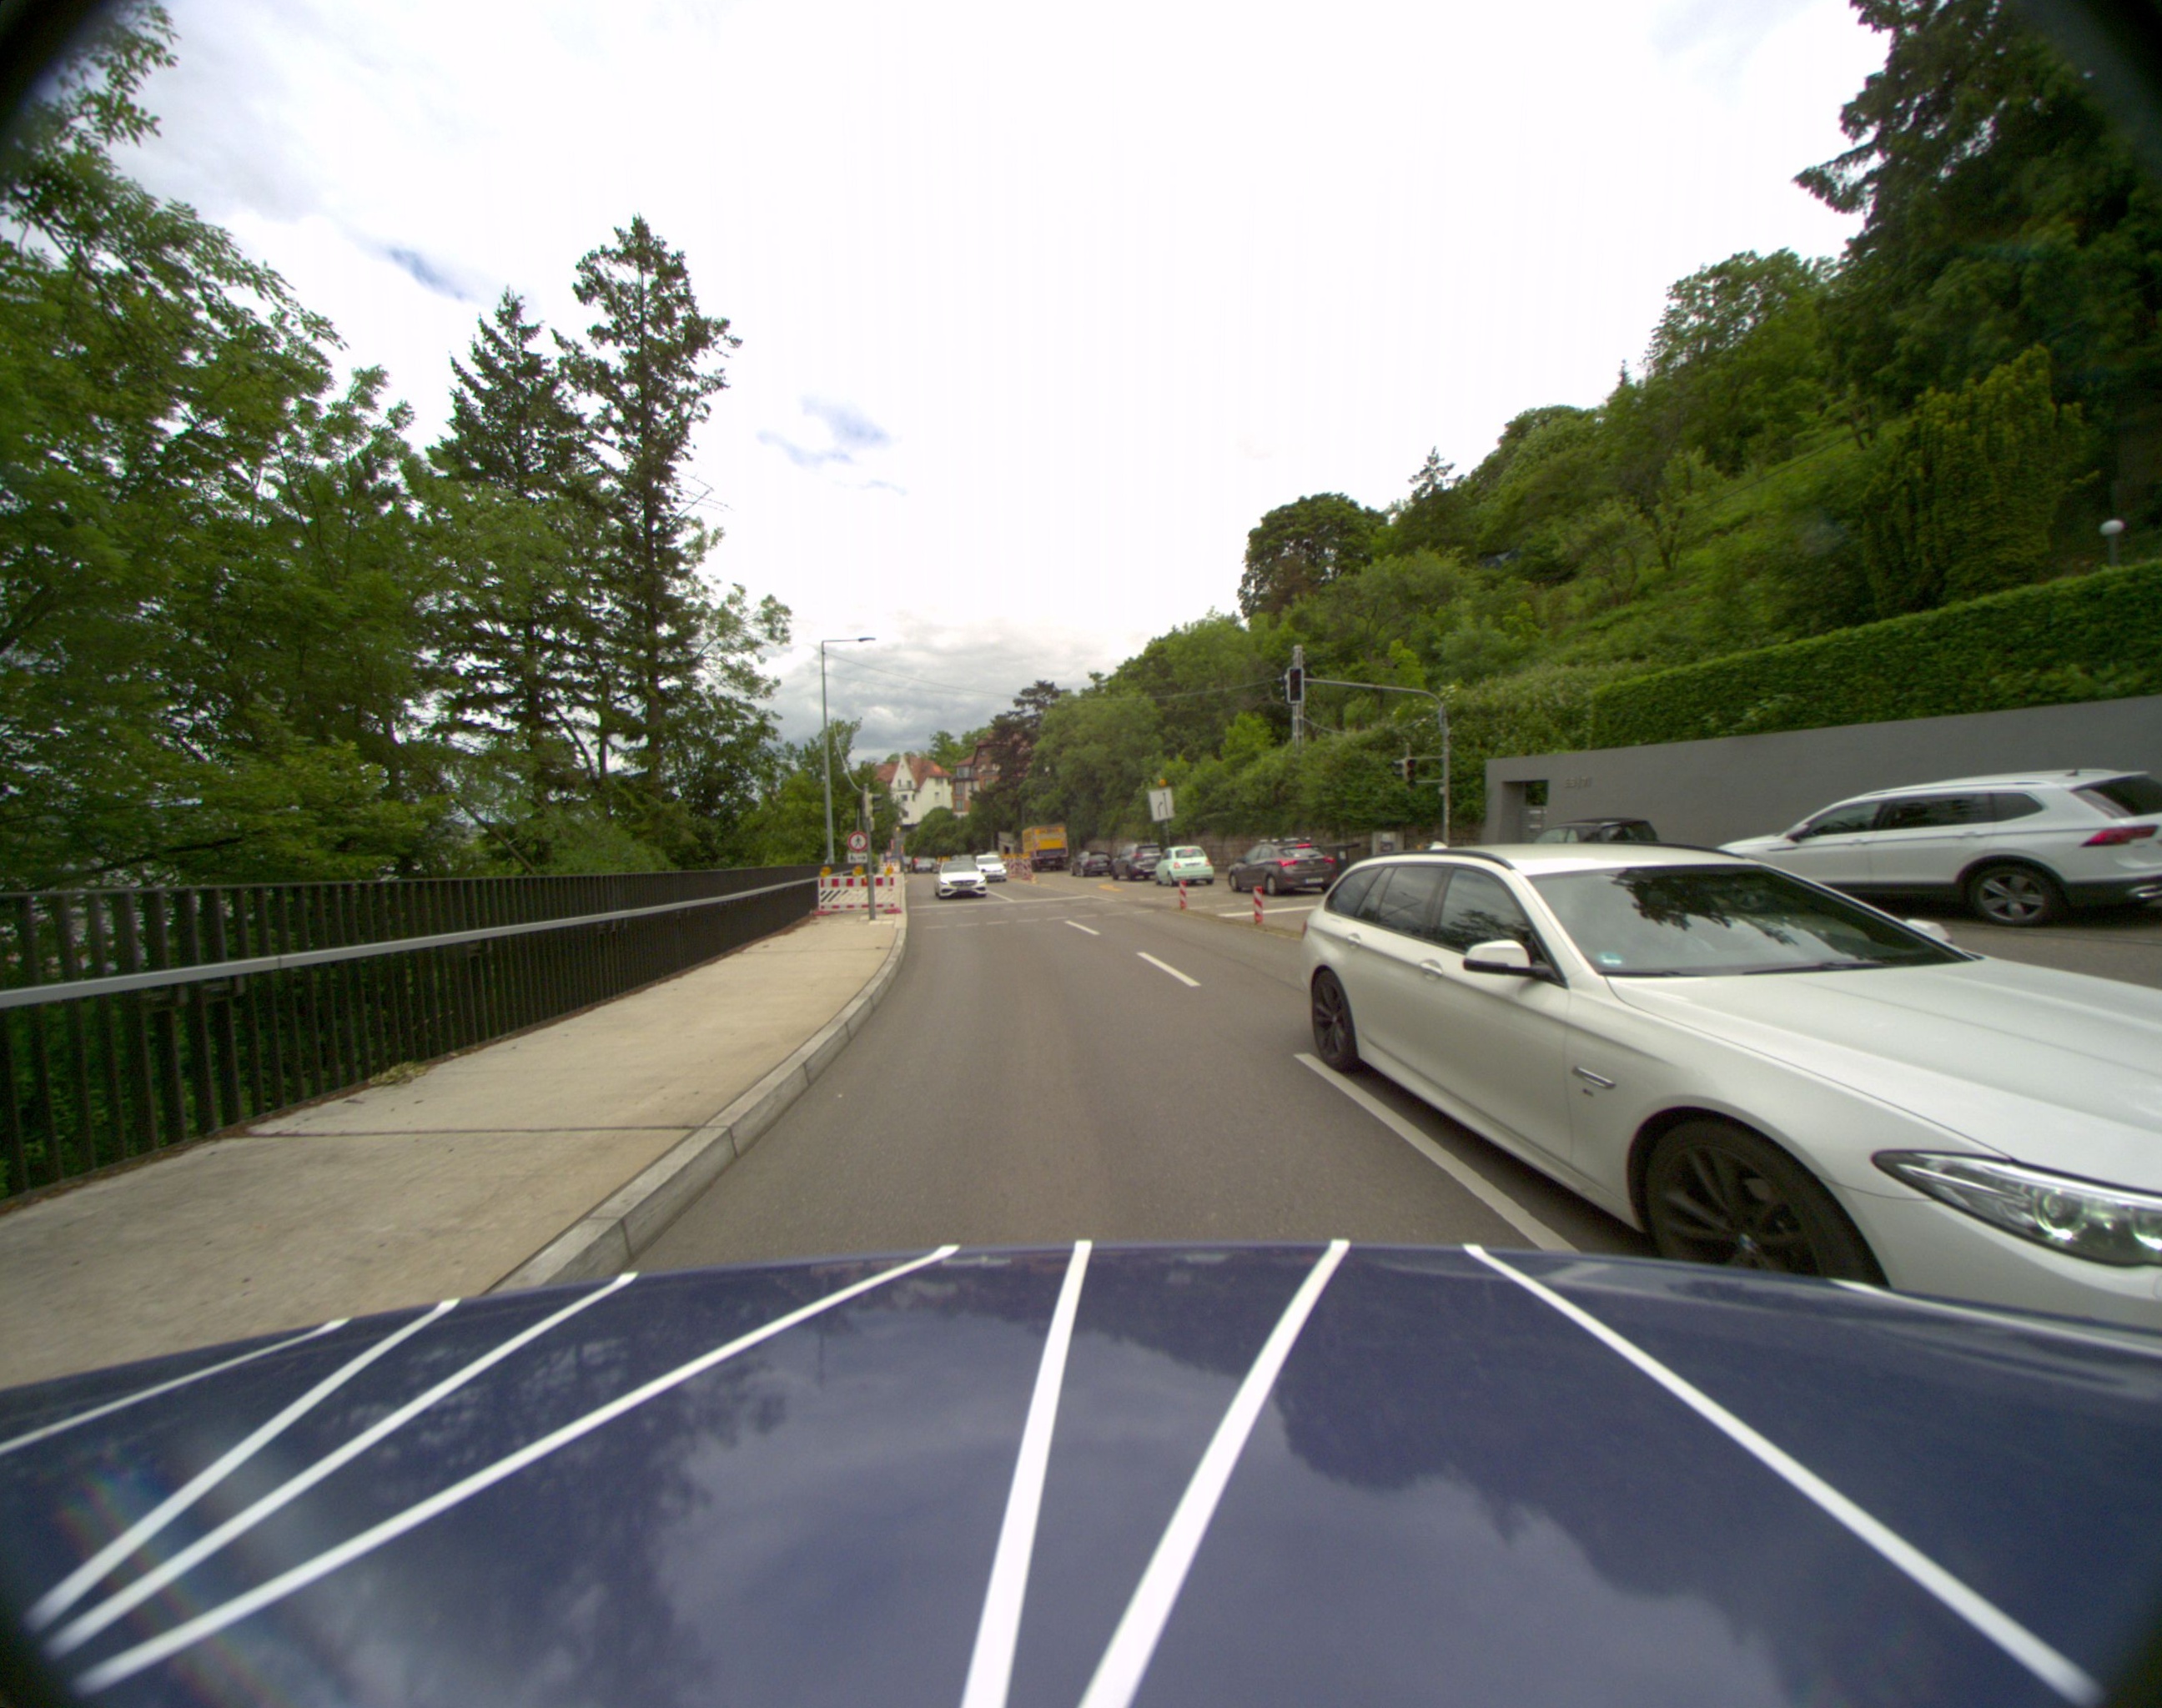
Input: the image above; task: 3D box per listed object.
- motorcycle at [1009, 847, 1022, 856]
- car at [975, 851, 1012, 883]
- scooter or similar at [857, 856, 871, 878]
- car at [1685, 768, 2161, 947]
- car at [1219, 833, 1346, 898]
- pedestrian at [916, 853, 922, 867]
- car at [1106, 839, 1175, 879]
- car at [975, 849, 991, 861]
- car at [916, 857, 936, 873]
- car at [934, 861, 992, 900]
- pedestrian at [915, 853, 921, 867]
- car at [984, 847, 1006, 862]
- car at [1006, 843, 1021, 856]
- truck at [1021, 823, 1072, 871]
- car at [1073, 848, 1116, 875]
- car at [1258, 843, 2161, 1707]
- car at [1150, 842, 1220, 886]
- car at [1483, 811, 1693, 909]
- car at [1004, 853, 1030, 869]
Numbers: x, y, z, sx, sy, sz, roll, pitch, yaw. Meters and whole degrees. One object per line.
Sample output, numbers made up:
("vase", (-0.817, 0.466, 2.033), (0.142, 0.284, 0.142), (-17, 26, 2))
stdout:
("motorcycle", (-9.979, -0.337, 116.024), (1.844, 1.177, 0.636), (-4, 6, -10))
("car", (-5.161, 0.718, 44.418), (1.887, 1.569, 3.996), (-4, 1, -8))
("scooter or similar", (-12.159, 0.730, 42.553), (0.536, 1.219, 1.205), (-1, 0, -6))
("car", (10.985, -0.036, 9.896), (1.865, 1.721, 4.756), (-5, 1, -10))
("car", (5.656, 0.281, 21.881), (1.717, 1.588, 4.201), (-3, 1, -13))
("pedestrian", (-21.788, 0.836, 102.363), (0.641, 1.848, 0.833), (-1, 0, -24))
("car", (2.707, 0.222, 35.804), (1.890, 1.687, 4.666), (-4, 1, -13))
("car", (-14.755, 0.091, 114.250), (1.837, 1.583, 4.649), (-4, 1, -13))
("car", (-16.229, 1.143, 79.349), (1.846, 1.447, 4.622), (-4, 1, -12))
("car", (-4.684, 0.987, 29.786), (1.800, 1.299, 4.095), (-3, 1, -15))
("pedestrian", (-22.252, 0.820, 103.745), (0.527, 1.832, 0.795), (-1, 0, -24))
("car", (-10.912, 0.098, 96.314), (1.810, 1.780, 4.335), (-5, 1, -18))
("car", (-10.512, -0.709, 118.142), (1.574, 1.596, 3.580), (-5, 6, -13))
("truck", (-2.852, -0.581, 60.881), (2.740, 3.490, 7.341), (-3, 1, -12))
("car", (0.730, 0.392, 44.868), (1.815, 1.421, 4.871), (-3, 1, -7))
("car", (2.568, 0.746, 3.603), (1.853, 1.458, 4.875), (-4, 1, -5))
("car", (3.907, 0.339, 29.135), (1.716, 1.458, 3.658), (-4, 1, -6))
("car", (9.768, 0.116, 14.889), (1.717, 1.564, 2.955), (-6, 1, -12))
("car", (-6.335, 0.643, 74.653), (1.777, 1.433, 4.740), (-4, 1, -13))
